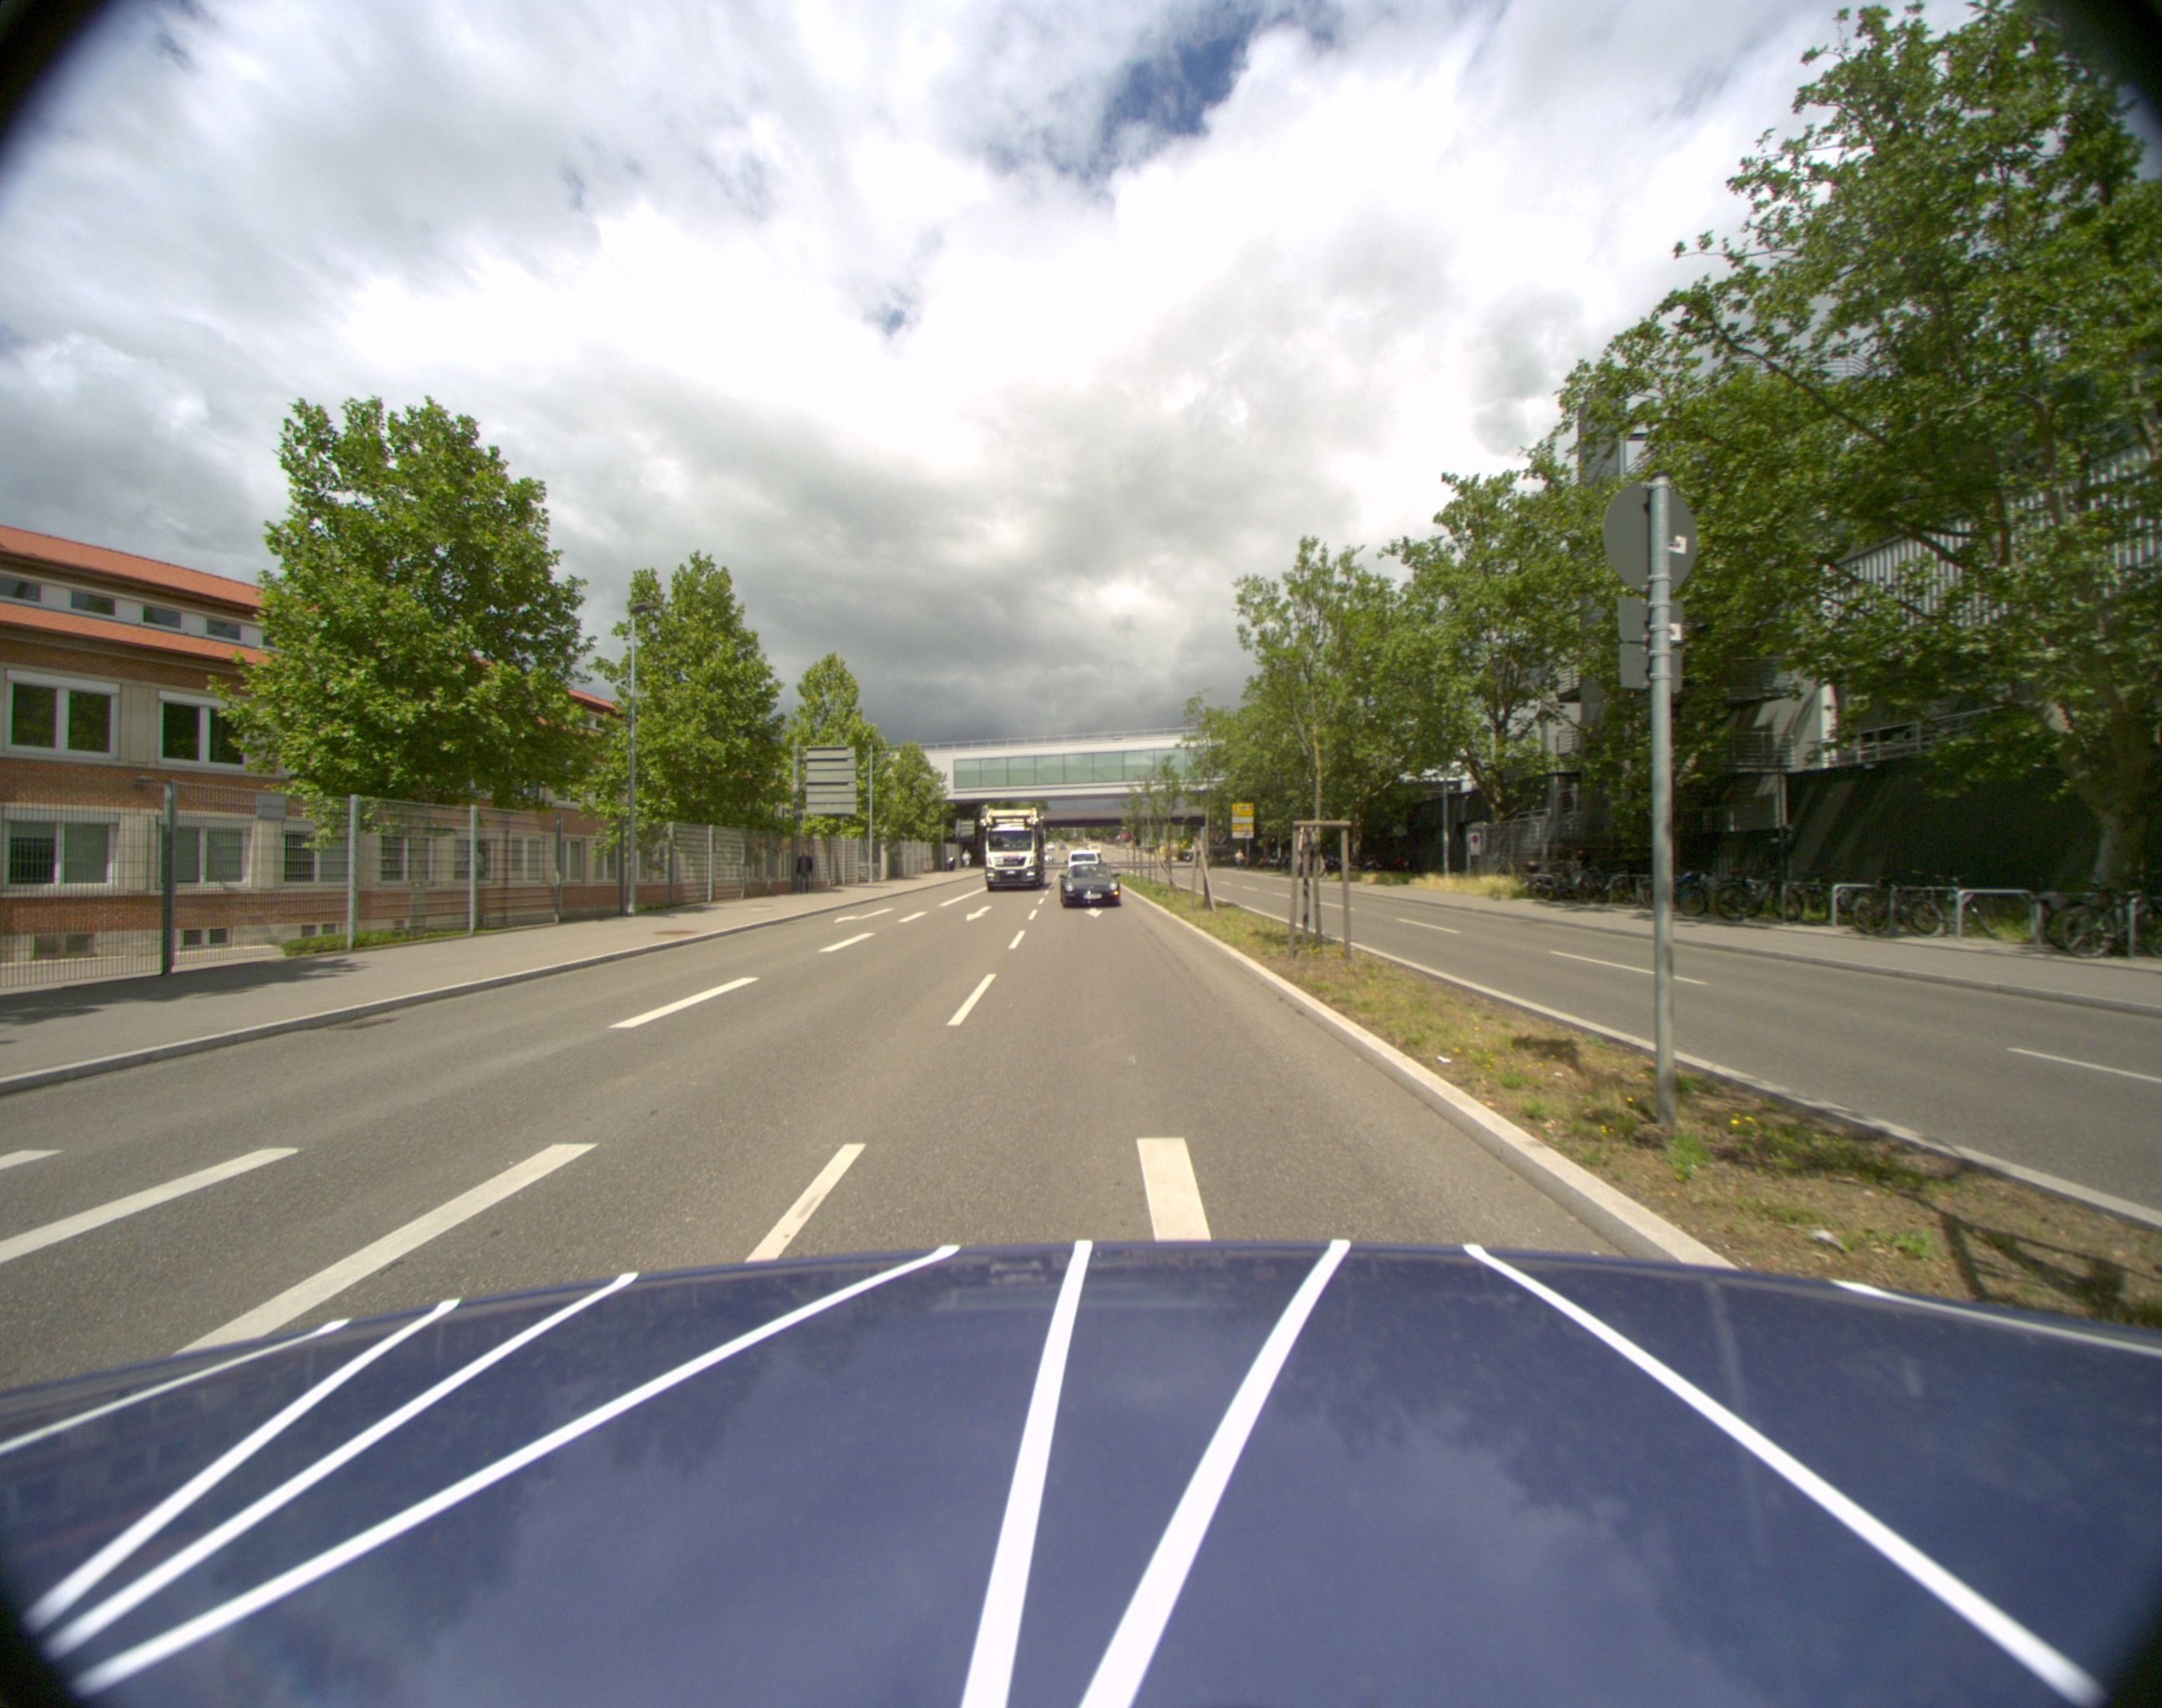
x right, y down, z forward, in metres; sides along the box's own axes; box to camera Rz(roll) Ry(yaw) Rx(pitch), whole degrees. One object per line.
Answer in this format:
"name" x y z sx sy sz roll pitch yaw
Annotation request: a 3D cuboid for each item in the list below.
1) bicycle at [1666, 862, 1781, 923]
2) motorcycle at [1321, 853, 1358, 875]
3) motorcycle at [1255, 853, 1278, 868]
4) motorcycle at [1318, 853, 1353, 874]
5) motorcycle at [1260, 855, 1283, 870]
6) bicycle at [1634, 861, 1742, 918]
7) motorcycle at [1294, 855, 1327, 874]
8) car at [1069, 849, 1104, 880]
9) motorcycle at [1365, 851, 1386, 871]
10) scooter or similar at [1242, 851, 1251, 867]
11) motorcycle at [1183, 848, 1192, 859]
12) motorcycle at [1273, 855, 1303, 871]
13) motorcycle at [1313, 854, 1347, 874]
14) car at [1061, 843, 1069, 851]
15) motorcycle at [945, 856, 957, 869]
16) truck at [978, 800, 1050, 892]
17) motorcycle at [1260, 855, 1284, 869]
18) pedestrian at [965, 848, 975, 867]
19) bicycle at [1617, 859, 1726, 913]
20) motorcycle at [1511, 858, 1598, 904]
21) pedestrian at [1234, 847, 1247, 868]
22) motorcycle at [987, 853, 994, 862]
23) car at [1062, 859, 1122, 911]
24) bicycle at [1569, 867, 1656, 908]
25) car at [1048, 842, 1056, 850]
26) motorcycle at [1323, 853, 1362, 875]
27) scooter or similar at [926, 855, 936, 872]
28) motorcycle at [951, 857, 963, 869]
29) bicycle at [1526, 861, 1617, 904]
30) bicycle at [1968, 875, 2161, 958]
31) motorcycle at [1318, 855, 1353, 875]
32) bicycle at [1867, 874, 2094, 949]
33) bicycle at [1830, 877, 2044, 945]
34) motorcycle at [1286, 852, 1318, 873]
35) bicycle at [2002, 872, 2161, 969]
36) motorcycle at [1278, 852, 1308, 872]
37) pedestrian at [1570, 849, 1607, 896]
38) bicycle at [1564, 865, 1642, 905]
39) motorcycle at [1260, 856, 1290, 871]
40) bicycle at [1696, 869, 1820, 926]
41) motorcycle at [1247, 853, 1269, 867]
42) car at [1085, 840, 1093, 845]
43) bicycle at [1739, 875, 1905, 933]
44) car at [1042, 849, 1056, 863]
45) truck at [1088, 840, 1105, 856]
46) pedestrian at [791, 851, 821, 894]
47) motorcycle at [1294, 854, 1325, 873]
"bicycle" 14.381 0.851 17.047 1.923 1.275 0.806 -1 1 -2
"motorcycle" 15.103 0.595 44.434 1.881 1.179 0.730 -3 0 8
"motorcycle" 15.222 0.515 62.326 1.596 1.116 0.775 -3 -1 -9
"motorcycle" 15.649 0.594 46.741 1.882 1.202 0.655 -3 -1 3
"motorcycle" 15.258 0.648 60.994 1.595 1.116 0.776 -3 -1 1
"bicycle" 14.348 0.823 17.983 1.923 1.275 0.806 -1 1 -2
"motorcycle" 14.846 0.674 49.212 1.881 1.172 0.815 -3 -1 9
"car" 0.266 0.588 44.682 1.929 1.728 3.999 -1 0 -1
"motorcycle" 18.704 0.464 48.306 0.654 1.202 1.984 -3 -1 4
"scooter or similar" 13.180 0.405 60.509 0.355 1.229 1.479 -2 2 -1
"motorcycle" 12.810 -0.040 91.755 0.641 1.191 2.257 -3 1 -1
"motorcycle" 15.188 0.677 55.756 1.933 1.109 0.923 -3 -1 27
"motorcycle" 15.653 0.623 47.850 1.882 1.172 0.698 -3 -1 3
"car" -4.584 -2.008 217.298 1.999 2.002 3.999 -1 0 -1
"motorcycle" -11.815 0.773 68.978 0.670 1.058 2.246 2 1 -1
"truck" -3.162 -0.361 38.401 2.787 3.981 10.085 -1 0 -1
"motorcycle" 14.981 0.656 59.621 1.595 1.027 0.776 -3 -1 1
"pedestrian" -10.877 0.357 74.477 0.791 1.877 1.097 0 1 -1
"bicycle" 14.908 0.792 19.210 2.139 1.275 0.806 -1 1 -2
"motorcycle" 14.261 0.800 22.919 2.139 1.301 0.806 -1 1 -2
"pedestrian" 12.465 0.285 59.494 0.769 1.603 0.813 -3 1 -1
"motorcycle" -12.195 0.507 101.980 0.679 1.148 2.112 0 1 0
"car" 0.295 0.894 23.620 1.675 1.390 3.999 -1 0 -1
"bicycle" 14.697 0.909 21.021 2.086 1.056 0.497 -1 1 -2
"car" -8.126 -2.293 213.494 1.999 2.002 3.999 -1 0 -1
"motorcycle" 14.605 0.567 42.506 1.881 1.166 0.746 -3 -1 9
"scooter or similar" -12.187 0.765 61.780 0.492 1.287 1.336 0 1 -1
"motorcycle" -11.761 0.864 72.110 0.709 1.058 2.510 2 1 -1
"bicycle" 14.323 0.831 22.231 2.139 1.173 0.806 -1 1 -2
"bicycle" 15.081 0.920 11.314 2.569 1.151 0.726 -1 1 10
"motorcycle" 15.301 0.655 45.682 1.880 1.078 0.795 -3 -1 15
"bicycle" 14.581 0.933 12.378 2.569 1.151 0.644 -1 1 10
"bicycle" 14.740 0.958 13.152 2.569 1.089 0.696 0 1 10
"motorcycle" 15.098 0.580 51.929 1.934 1.336 0.866 -3 -1 20
"bicycle" 14.220 0.896 10.430 2.410 1.250 0.556 -1 1 2
"motorcycle" 15.150 0.568 54.202 1.934 1.283 0.894 -3 -1 20
"pedestrian" 17.051 0.618 25.538 0.755 1.543 0.821 -1 1 10
"bicycle" 14.749 0.873 21.490 1.929 1.068 0.422 -1 1 -2
"motorcycle" 14.687 0.715 57.459 1.939 1.109 0.920 1 1 -12
"bicycle" 14.270 0.902 16.056 1.923 1.116 0.806 -1 1 -2
"motorcycle" 15.017 0.511 64.448 1.745 1.164 0.777 -3 -1 8
"car" 2.146 -3.176 207.226 1.998 1.346 4.000 0 1 1
"bicycle" 14.774 0.973 15.170 2.844 1.000 0.850 -1 1 -9
"car" -4.870 0.297 114.980 1.999 2.002 3.999 -1 0 -2
"truck" 2.709 -1.123 135.968 2.486 2.735 6.456 -1 0 -3
"pedestrian" -11.357 0.747 31.369 0.879 1.733 0.940 1 1 -1
"motorcycle" 15.130 0.624 50.445 1.880 1.172 0.816 -3 -1 15
